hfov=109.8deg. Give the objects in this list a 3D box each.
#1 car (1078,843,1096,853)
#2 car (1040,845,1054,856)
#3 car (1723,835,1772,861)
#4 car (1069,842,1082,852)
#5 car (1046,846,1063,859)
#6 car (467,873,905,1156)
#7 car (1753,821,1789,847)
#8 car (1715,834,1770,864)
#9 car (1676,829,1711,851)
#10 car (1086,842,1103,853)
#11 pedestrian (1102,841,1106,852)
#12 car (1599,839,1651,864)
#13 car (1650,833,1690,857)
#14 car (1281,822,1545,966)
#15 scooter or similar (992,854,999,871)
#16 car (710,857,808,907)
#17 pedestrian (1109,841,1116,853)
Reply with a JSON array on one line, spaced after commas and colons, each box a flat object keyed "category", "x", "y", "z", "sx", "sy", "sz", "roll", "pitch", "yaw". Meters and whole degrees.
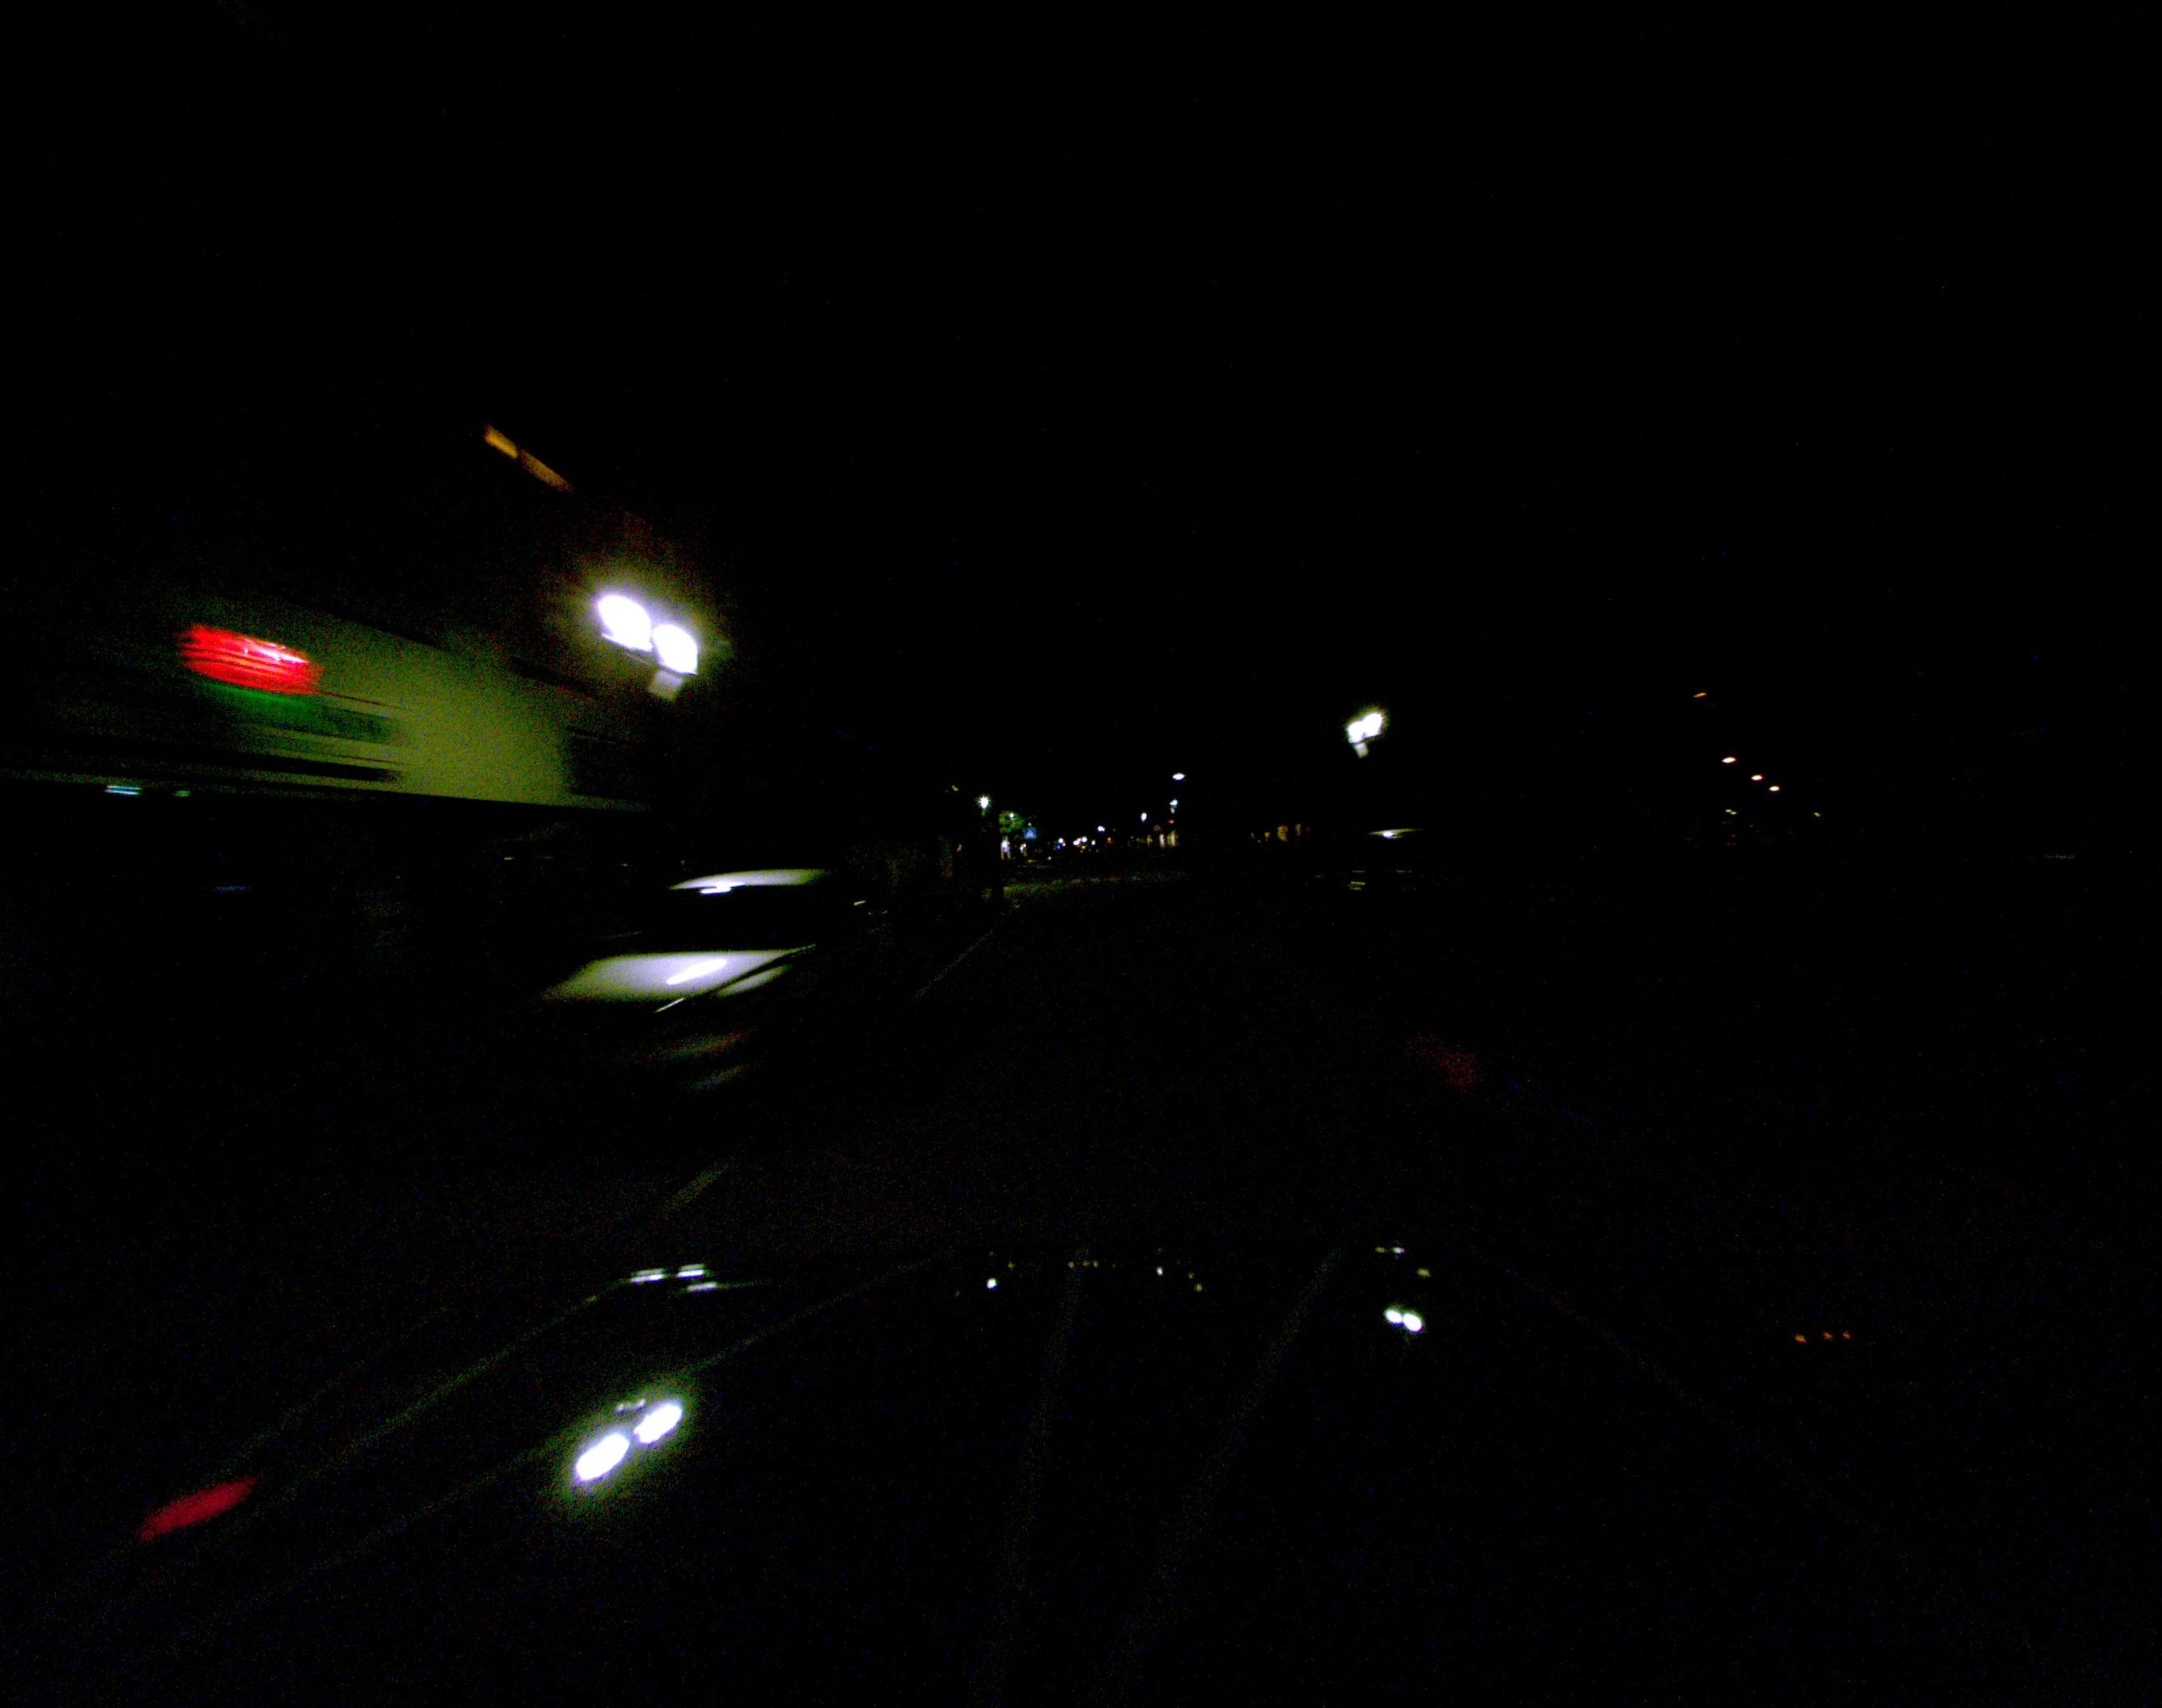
[{"category": "car", "x": 0.980, "y": -1.084, "z": 129.190, "sx": 1.912, "sy": 1.533, "sz": 4.776, "roll": -4, "pitch": 1, "yaw": -13}, {"category": "car", "x": -5.381, "y": -0.563, "z": 118.823, "sx": 1.748, "sy": 1.479, "sz": 4.631, "roll": -3, "pitch": 2, "yaw": -8}, {"category": "car", "x": 36.245, "y": -0.336, "z": 41.304, "sx": 1.816, "sy": 1.368, "sz": 4.008, "roll": 0, "pitch": 1, "yaw": 44}, {"category": "car", "x": -1.049, "y": -1.268, "z": 139.798, "sx": 1.776, "sy": 1.565, "sz": 4.478, "roll": -4, "pitch": 2, "yaw": -9}, {"category": "car", "x": -3.154, "y": -0.224, "z": 89.294, "sx": 1.739, "sy": 1.432, "sz": 4.494, "roll": -3, "pitch": 1, "yaw": -5}, {"category": "car", "x": -2.726, "y": 0.984, "z": 6.278, "sx": 1.679, "sy": 1.451, "sz": 3.674, "roll": -3, "pitch": 1, "yaw": -1}, {"category": "car", "x": 46.845, "y": -1.374, "z": 51.564, "sx": 3.425, "sy": 1.560, "sz": 1.571, "roll": -5, "pitch": 3, "yaw": -43}, {"category": "car", "x": 32.553, "y": -0.256, "z": 37.357, "sx": 1.816, "sy": 1.368, "sz": 4.008, "roll": 0, "pitch": 1, "yaw": 44}, {"category": "car", "x": 48.632, "y": -1.114, "z": 60.304, "sx": 1.816, "sy": 1.628, "sz": 4.008, "roll": 0, "pitch": 1, "yaw": 44}, {"category": "car", "x": 2.183, "y": -1.058, "z": 123.103, "sx": 1.765, "sy": 1.628, "sz": 4.809, "roll": -3, "pitch": 1, "yaw": -11}, {"category": "pedestrian", "x": 3.805, "y": -1.239, "z": 124.716, "sx": 0.502, "sy": 1.812, "sz": 0.503, "roll": -3, "pitch": 3, "yaw": -4}, {"category": "car", "x": 31.125, "y": -0.143, "z": 43.422, "sx": 1.816, "sy": 1.368, "sz": 4.008, "roll": 0, "pitch": 1, "yaw": 44}, {"category": "car", "x": 42.263, "y": -0.621, "z": 54.462, "sx": 1.816, "sy": 1.628, "sz": 4.008, "roll": 0, "pitch": 1, "yaw": 44}, {"category": "car", "x": 4.892, "y": 0.484, "z": 12.190, "sx": 2.023, "sy": 1.681, "sz": 5.002, "roll": -4, "pitch": 1, "yaw": 1}, {"category": "scooter or similar", "x": -6.805, "y": 0.636, "z": 60.481, "sx": 0.374, "sy": 1.269, "sz": 1.305, "roll": -3, "pitch": 2, "yaw": 1}, {"category": "car", "x": -11.295, "y": 0.918, "z": 26.984, "sx": 1.809, "sy": 1.452, "sz": 4.054, "roll": 1, "pitch": 2, "yaw": -1}, {"category": "pedestrian", "x": 5.115, "y": -1.151, "z": 124.201, "sx": 0.793, "sy": 1.807, "sz": 1.024, "roll": -4, "pitch": 2, "yaw": 13}]
